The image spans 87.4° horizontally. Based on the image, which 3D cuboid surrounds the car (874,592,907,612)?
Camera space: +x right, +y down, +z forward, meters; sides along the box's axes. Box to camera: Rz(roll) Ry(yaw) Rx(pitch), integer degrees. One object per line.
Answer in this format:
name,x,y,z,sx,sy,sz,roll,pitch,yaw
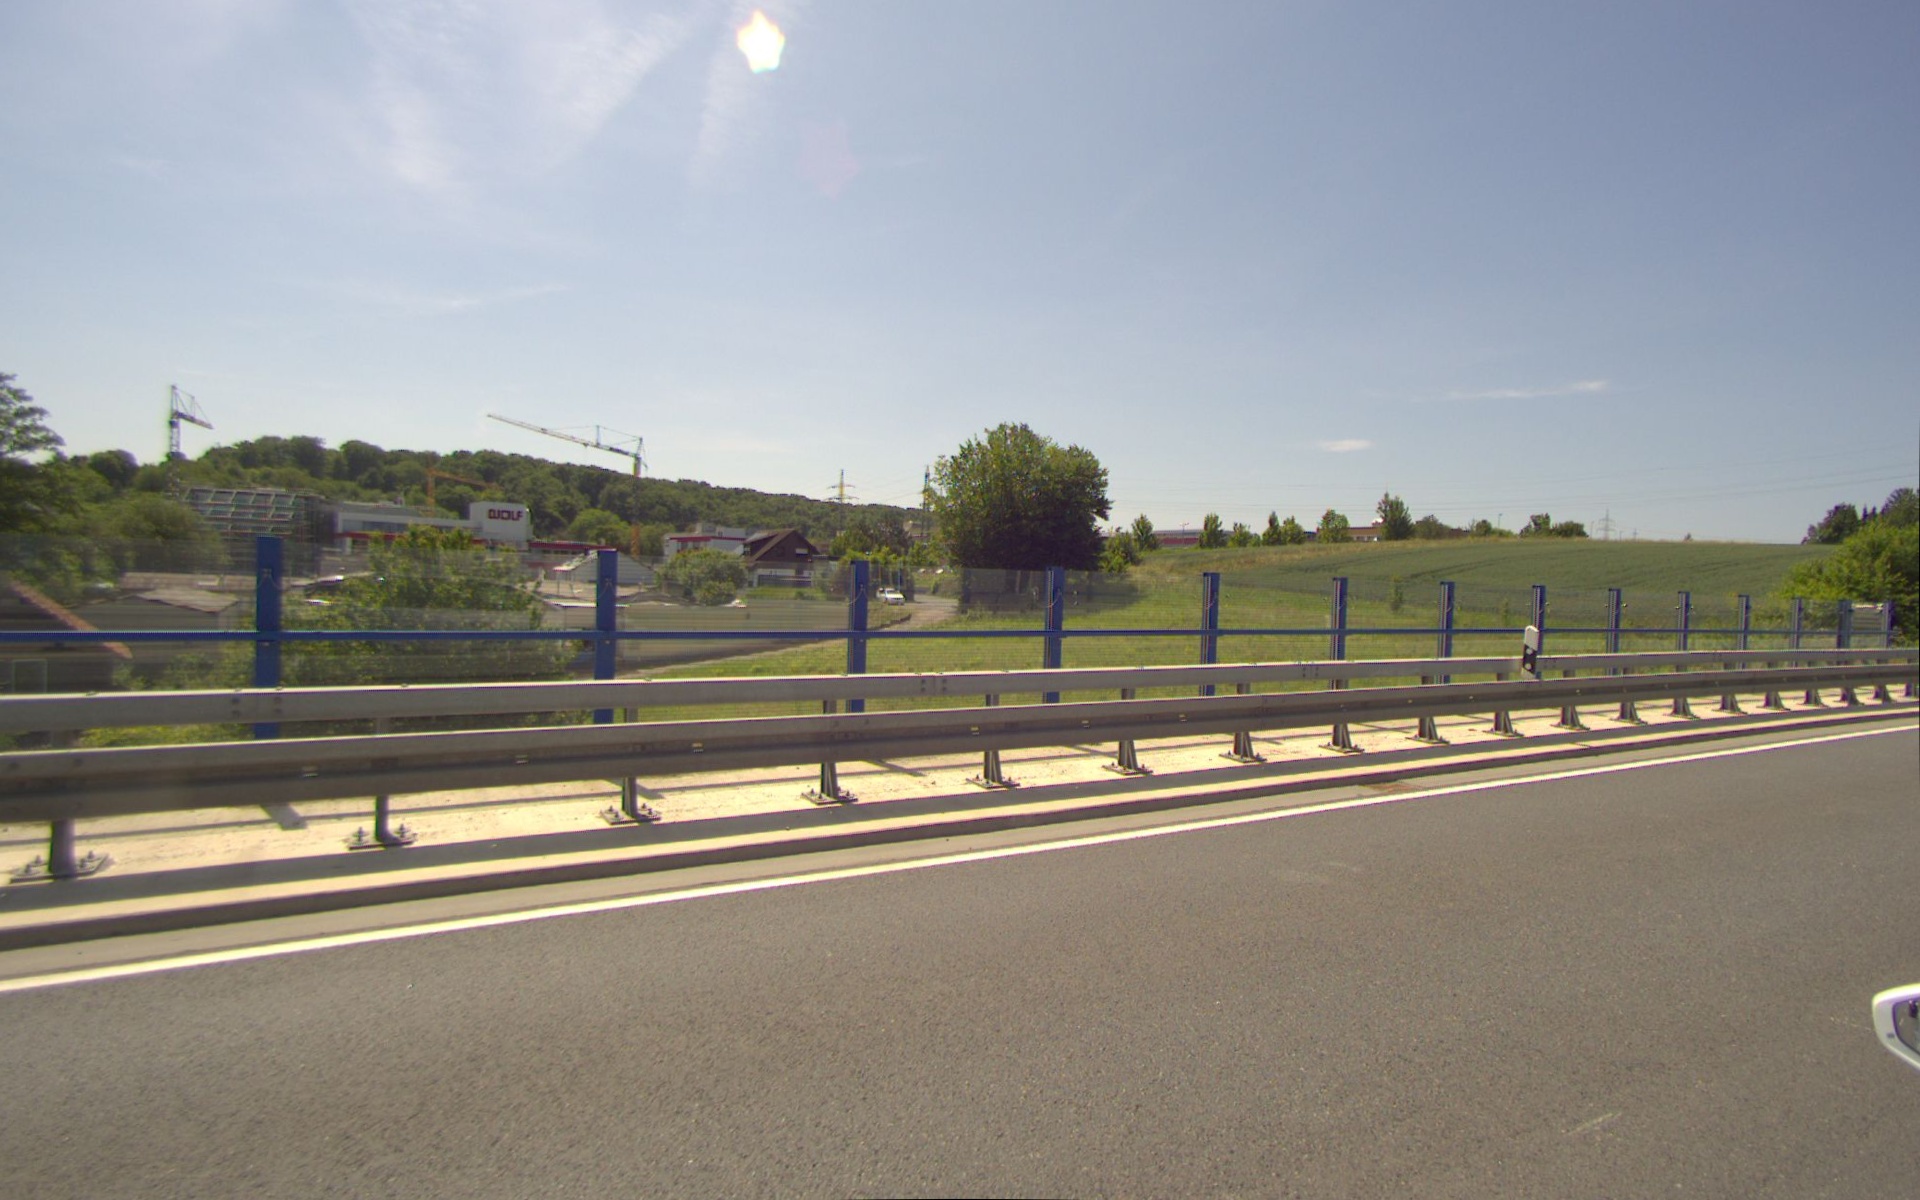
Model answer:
car,-6.605,0.187,95.525,1.808,1.625,3.973,-3,5,-25
